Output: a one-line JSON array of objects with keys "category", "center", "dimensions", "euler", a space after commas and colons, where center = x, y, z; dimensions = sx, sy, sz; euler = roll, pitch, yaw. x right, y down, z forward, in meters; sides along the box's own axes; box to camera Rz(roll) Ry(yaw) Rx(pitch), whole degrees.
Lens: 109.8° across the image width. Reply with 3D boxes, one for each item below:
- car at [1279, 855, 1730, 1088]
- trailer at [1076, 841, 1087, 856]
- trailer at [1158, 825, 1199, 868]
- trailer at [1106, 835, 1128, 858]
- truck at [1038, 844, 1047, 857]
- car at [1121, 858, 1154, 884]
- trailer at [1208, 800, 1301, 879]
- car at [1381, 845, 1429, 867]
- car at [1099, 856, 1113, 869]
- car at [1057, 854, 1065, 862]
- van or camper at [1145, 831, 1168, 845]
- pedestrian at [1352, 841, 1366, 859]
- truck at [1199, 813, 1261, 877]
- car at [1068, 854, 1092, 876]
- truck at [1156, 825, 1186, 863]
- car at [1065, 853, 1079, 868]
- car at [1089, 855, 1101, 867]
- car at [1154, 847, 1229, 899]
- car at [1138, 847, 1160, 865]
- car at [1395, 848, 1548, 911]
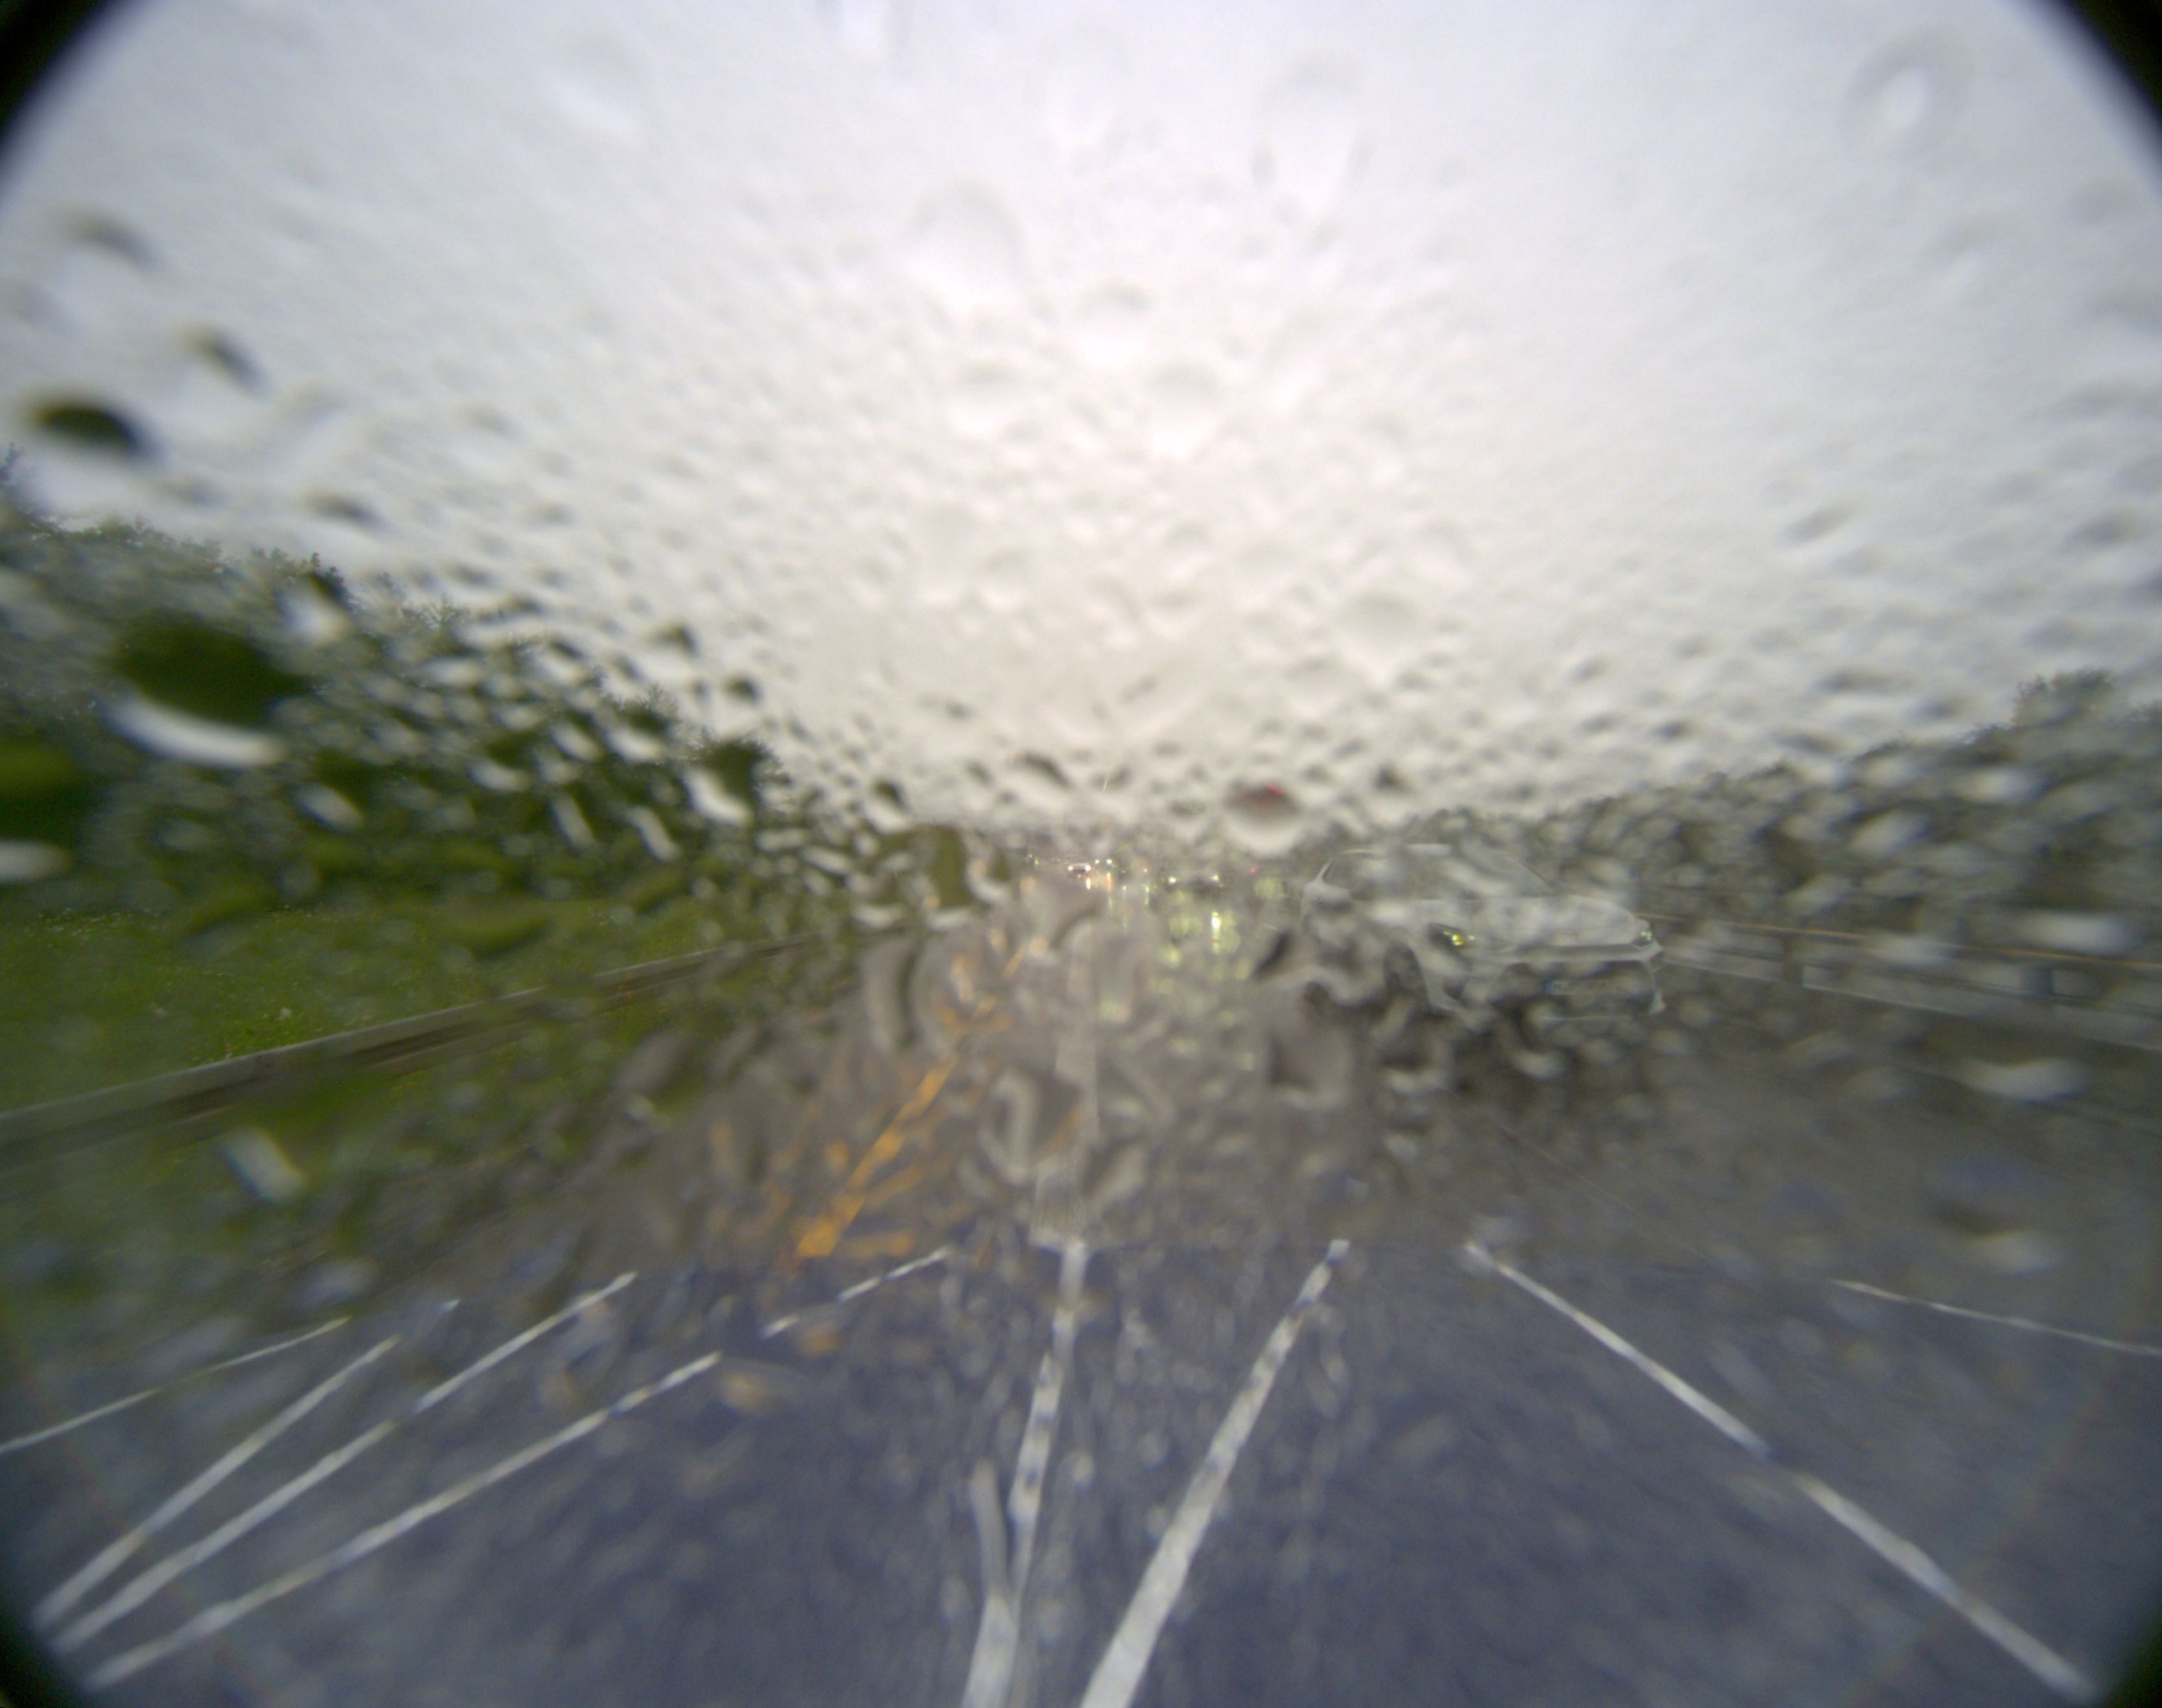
[{"category": "car", "center": [3.557, 0.816, 7.727], "dimensions": [1.932, 1.542, 5.007], "euler": [-1, 0, 2]}, {"category": "trailer", "center": [0.167, -1.611, 223.436], "dimensions": [2.619, 3.984, 11.924], "euler": [-3, 1, -2]}, {"category": "trailer", "center": [9.901, -0.829, 78.183], "dimensions": [2.500, 4.026, 12.583], "euler": [-1, 1, 0]}, {"category": "trailer", "center": [6.764, -1.455, 144.351], "dimensions": [2.607, 4.054, 12.426], "euler": [-2, 0, -4]}, {"category": "truck", "center": [-12.168, -1.065, 242.541], "dimensions": [2.507, 4.067, 15.197], "euler": [-3, 0, -2]}, {"category": "car", "center": [3.610, 1.064, 49.268], "dimensions": [1.792, 1.480, 4.000], "euler": [-3, 1, 1]}, {"category": "trailer", "center": [10.064, -0.716, 45.695], "dimensions": [2.914, 4.065, 12.221], "euler": [-1, 0, 1]}, {"category": "car", "center": [30.558, 0.169, 71.785], "dimensions": [2.099, 1.955, 5.364], "euler": [-2, 0, -1]}, {"category": "car", "center": [2.986, 1.044, 91.661], "dimensions": [1.589, 1.528, 3.831], "euler": [-1, 0, 0]}, {"category": "car", "center": [-4.373, 0.888, 167.316], "dimensions": [1.673, 1.804, 3.999], "euler": [-1, 0, -2]}, {"category": "van or camper", "center": [19.929, -4.101, 199.736], "dimensions": [5.422, 3.325, 3.376], "euler": [-3, 1, -5]}, {"category": "pedestrian", "center": [32.496, -0.483, 88.806], "dimensions": [1.108, 2.002, 1.126], "euler": [-3, 1, -4]}, {"category": "truck", "center": [10.163, -0.579, 52.501], "dimensions": [2.891, 4.077, 6.927], "euler": [-1, 0, 1]}, {"category": "car", "center": [-0.115, 0.944, 64.921], "dimensions": [1.881, 1.772, 3.999], "euler": [-1, 0, -1]}, {"category": "truck", "center": [9.927, -1.028, 84.620], "dimensions": [2.490, 4.007, 6.448], "euler": [-2, 0, 0]}, {"category": "car", "center": [-1.125, 0.785, 92.435], "dimensions": [1.673, 1.804, 3.999], "euler": [-1, 0, -2]}, {"category": "car", "center": [2.107, 1.092, 115.826], "dimensions": [1.673, 1.804, 3.999], "euler": [-1, 0, -2]}, {"category": "car", "center": [3.812, 0.610, 27.039], "dimensions": [2.069, 1.618, 5.196], "euler": [-2, 0, 2]}, {"category": "car", "center": [7.431, 0.154, 83.444], "dimensions": [1.998, 1.874, 4.432], "euler": [-1, 1, 1]}, {"category": "car", "center": [10.477, 0.605, 20.791], "dimensions": [1.998, 1.497, 4.296], "euler": [-2, 1, 1]}]
